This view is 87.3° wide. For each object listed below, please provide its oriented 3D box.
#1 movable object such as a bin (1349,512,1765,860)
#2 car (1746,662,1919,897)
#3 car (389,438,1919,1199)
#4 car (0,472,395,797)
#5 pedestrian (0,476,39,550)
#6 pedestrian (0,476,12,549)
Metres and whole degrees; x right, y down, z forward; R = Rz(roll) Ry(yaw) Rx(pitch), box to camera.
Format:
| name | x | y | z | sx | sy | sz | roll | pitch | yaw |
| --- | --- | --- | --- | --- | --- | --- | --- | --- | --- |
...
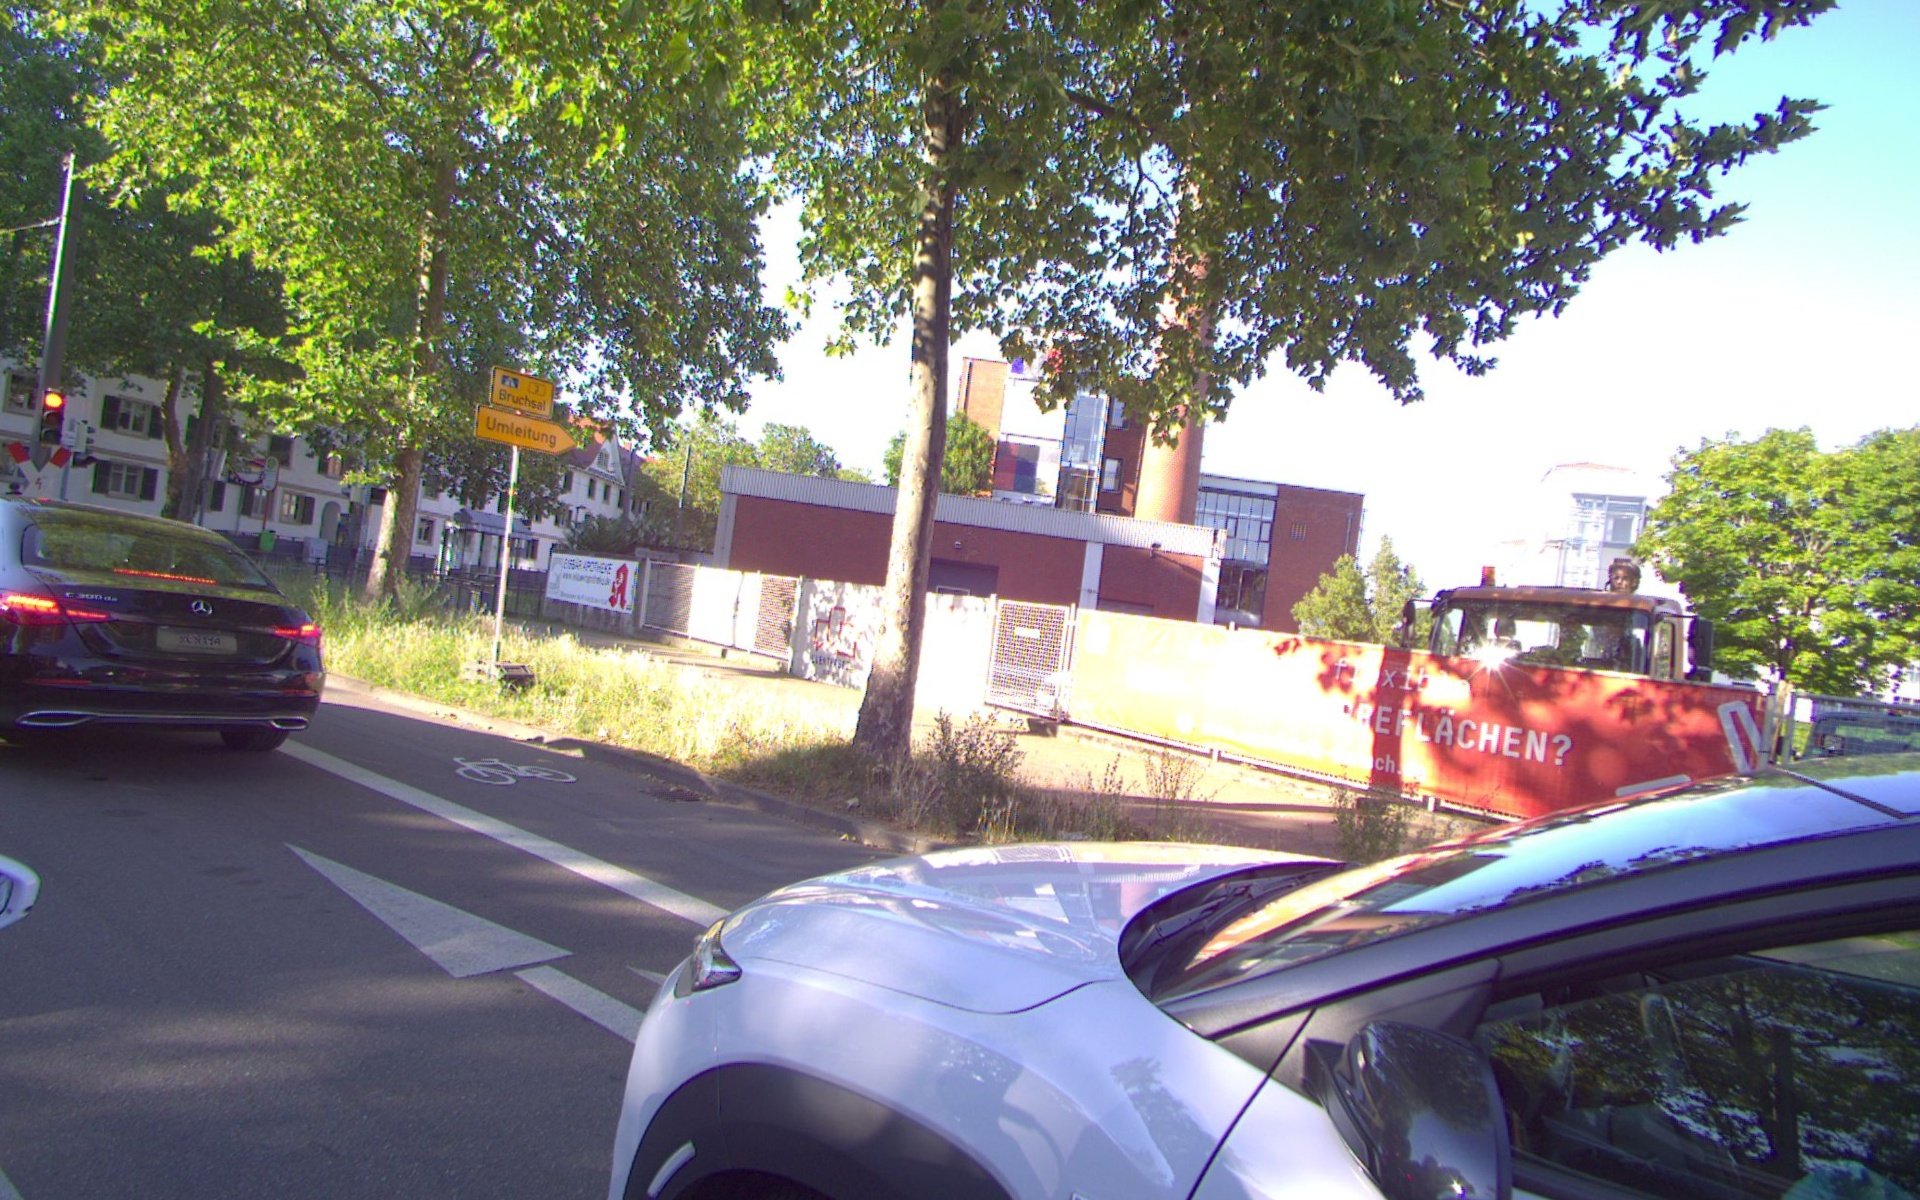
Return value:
| name | x | y | z | sx | sy | sz | roll | pitch | yaw |
| --- | --- | --- | --- | --- | --- | --- | --- | --- | --- |
| movable object such as a bin | 7.644 | 1.032 | 12.410 | 3.172 | 3.084 | 6.266 | 6 | -2 | 41 |
| car | 9.573 | 1.822 | 10.152 | 2.016 | 1.849 | 4.583 | 6 | -3 | 44 |
| car | 1.241 | 0.889 | 1.368 | 3.901 | 1.616 | 1.893 | 9 | -1 | 33 |
| car | -5.975 | 0.011 | 6.719 | 4.308 | 1.508 | 1.893 | 9 | -1 | 32 |
| pedestrian | -26.522 | -2.433 | 28.133 | 0.825 | 1.940 | 0.707 | 7 | -1 | 28 |
| pedestrian | -26.120 | -2.398 | 26.913 | 0.825 | 1.940 | 0.707 | 7 | -1 | 28 |
